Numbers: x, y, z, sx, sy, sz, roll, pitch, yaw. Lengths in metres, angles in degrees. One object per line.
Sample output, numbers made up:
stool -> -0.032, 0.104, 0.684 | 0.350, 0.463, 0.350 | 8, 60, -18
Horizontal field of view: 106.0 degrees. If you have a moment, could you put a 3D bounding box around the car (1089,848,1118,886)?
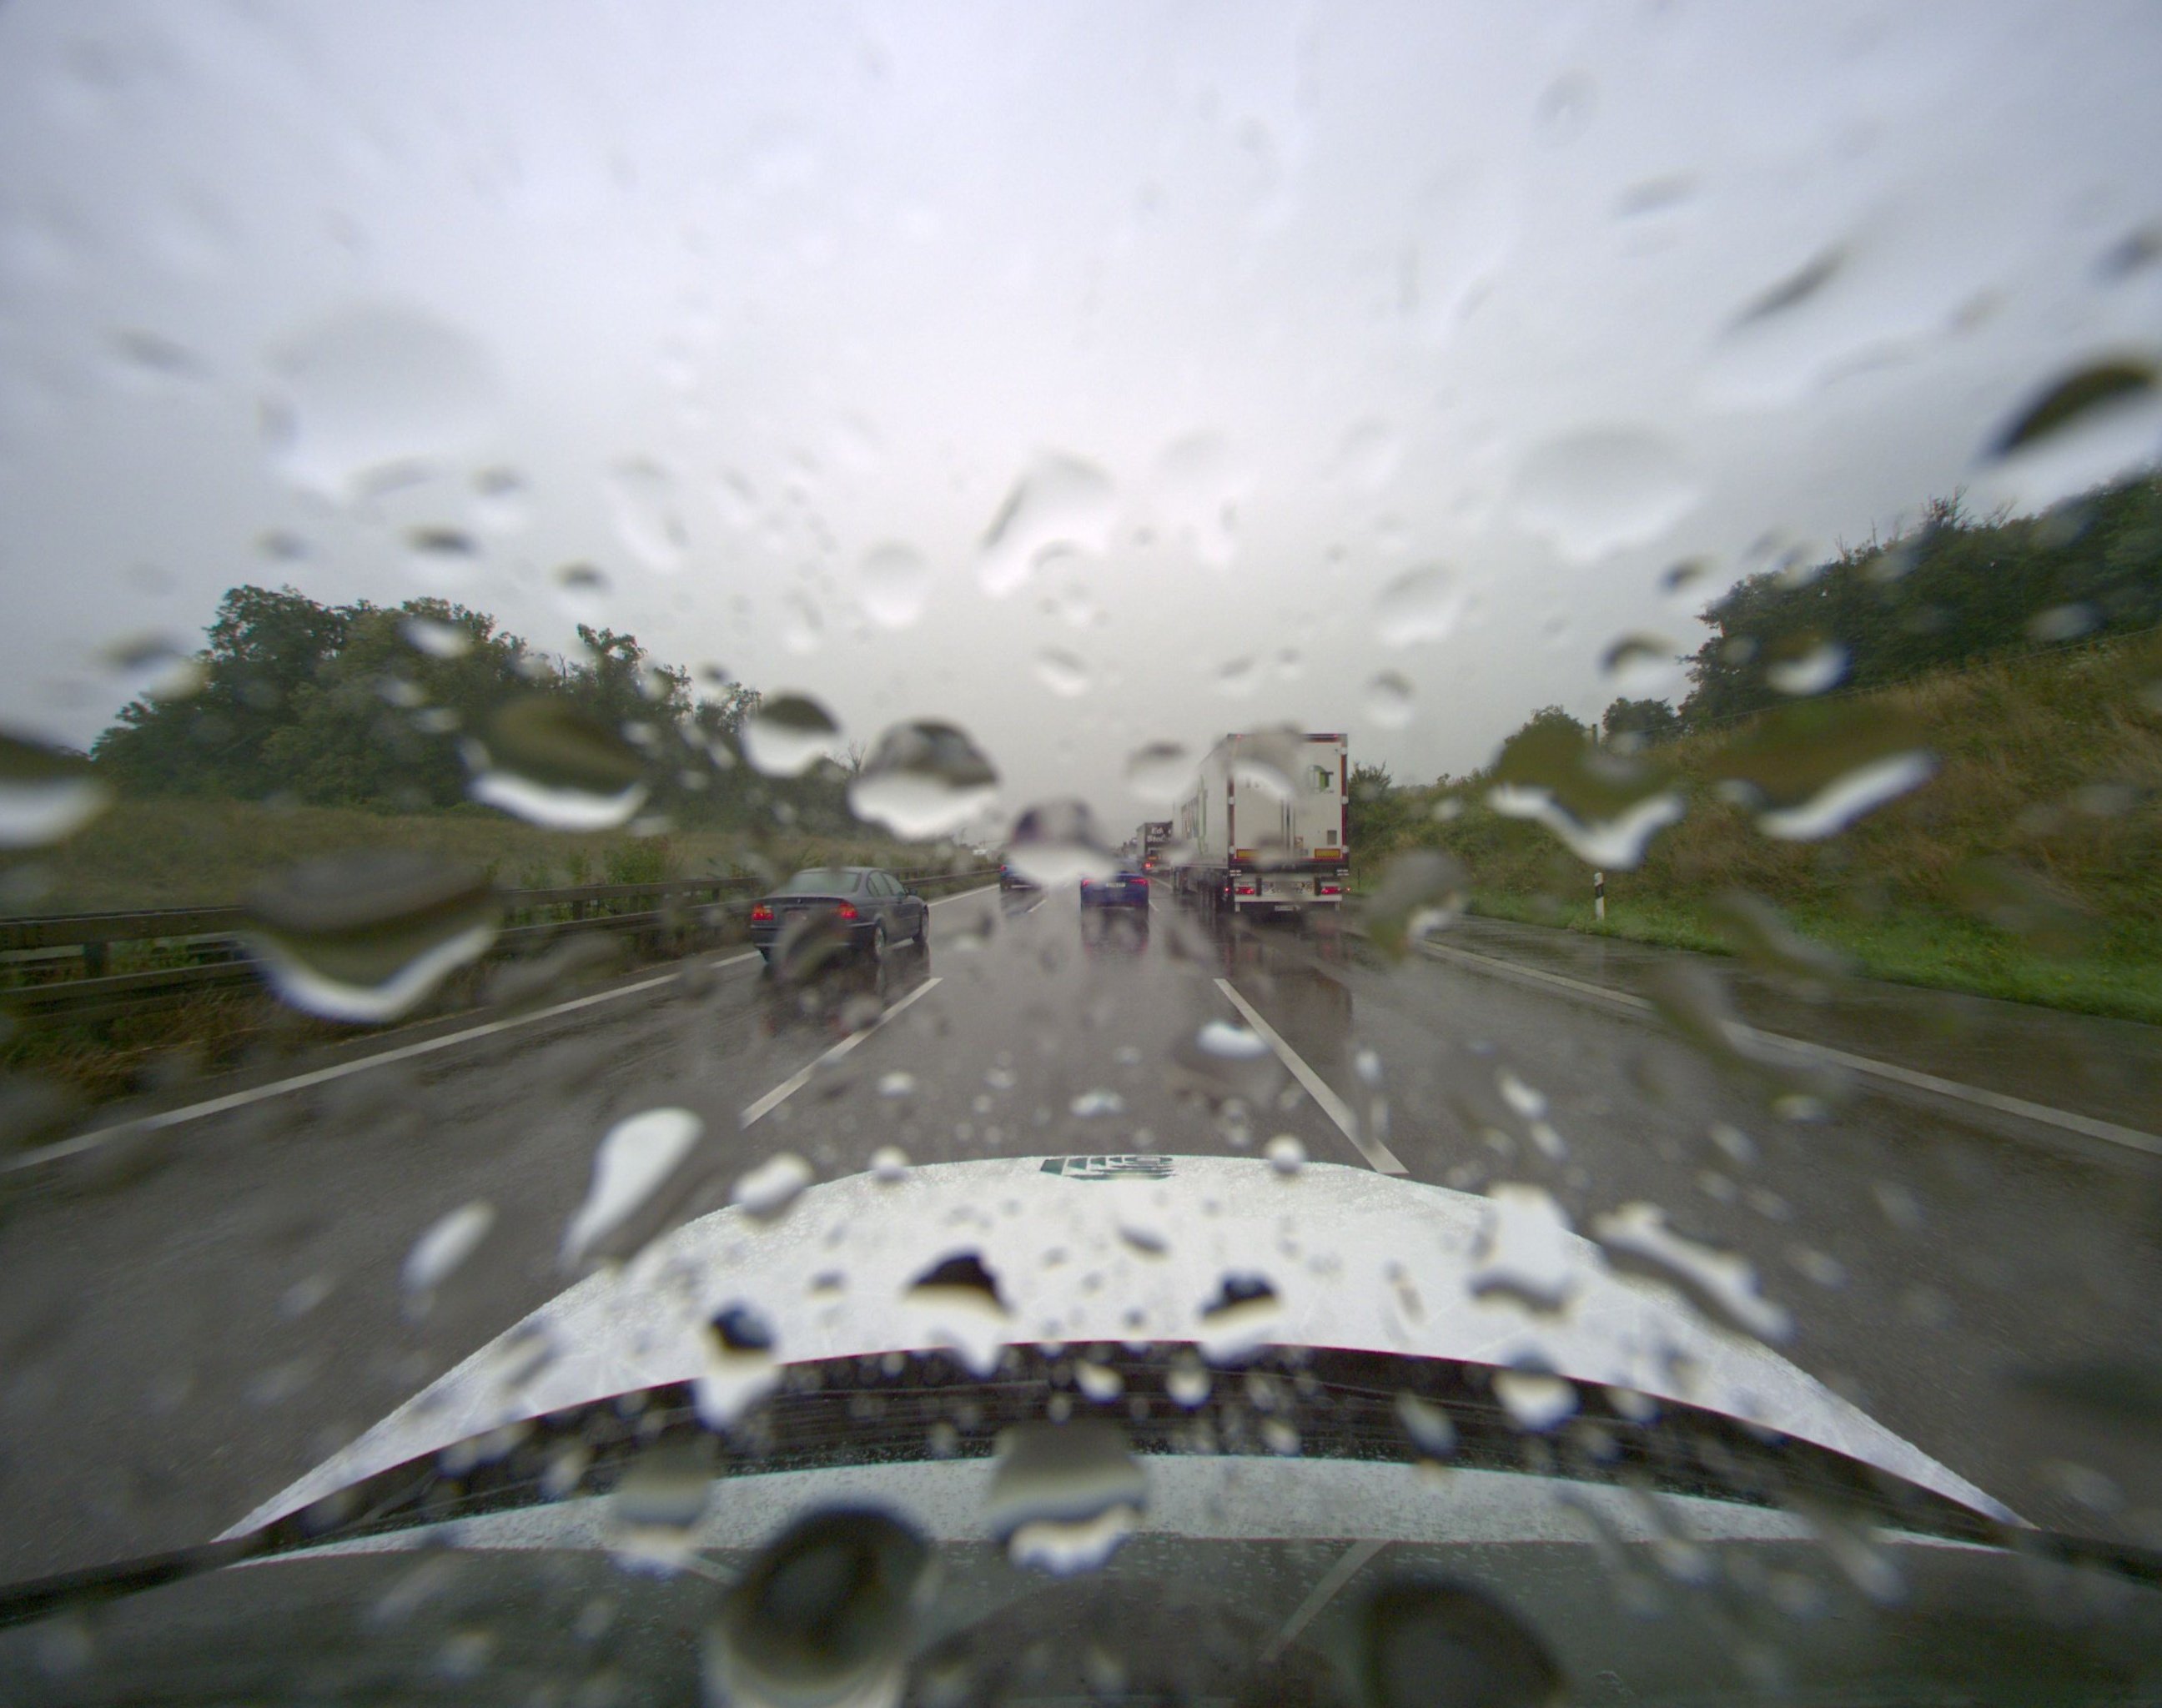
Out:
car -> 1.125, 0.613, 40.781 | 1.332, 1.780, 3.323 | -1, 0, 2

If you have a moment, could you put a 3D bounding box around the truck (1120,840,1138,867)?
truck -> 6.176, -0.082, 105.781 | 1.987, 3.421, 8.032 | -1, 0, 0

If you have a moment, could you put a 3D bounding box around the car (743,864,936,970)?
car -> -3.690, 0.889, 13.297 | 1.711, 1.400, 4.232 | -1, 0, 2

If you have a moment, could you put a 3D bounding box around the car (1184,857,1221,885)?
car -> 6.008, 0.803, 40.623 | 1.418, 1.288, 3.462 | -1, 0, 2

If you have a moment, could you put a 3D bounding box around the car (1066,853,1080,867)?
car -> -0.909, 0.638, 91.953 | 1.434, 1.533, 3.323 | -1, 0, 2

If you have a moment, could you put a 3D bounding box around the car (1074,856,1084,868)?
car -> -0.301, 1.218, 125.398 | 1.443, 1.784, 3.410 | -1, -1, 2

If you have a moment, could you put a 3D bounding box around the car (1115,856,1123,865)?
car -> 7.136, 1.195, 154.156 | 1.443, 1.784, 3.410 | -1, -1, 2

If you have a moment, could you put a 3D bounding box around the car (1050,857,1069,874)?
car -> -1.935, 1.046, 74.025 | 1.434, 1.420, 3.323 | -1, 0, 2

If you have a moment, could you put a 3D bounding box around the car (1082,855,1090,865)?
car -> 0.951, 1.177, 158.913 | 1.443, 1.784, 3.410 | -1, -1, 2

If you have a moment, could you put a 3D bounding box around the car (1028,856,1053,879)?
car -> -2.648, 0.865, 53.763 | 1.354, 1.431, 3.365 | -1, 0, 2

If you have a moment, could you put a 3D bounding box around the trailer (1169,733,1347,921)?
trailer -> 4.606, -0.586, 24.840 | 2.620, 4.013, 14.634 | -1, 0, 2

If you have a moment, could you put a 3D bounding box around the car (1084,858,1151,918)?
car -> 0.983, 0.832, 21.928 | 1.629, 1.445, 4.002 | -1, 0, 2

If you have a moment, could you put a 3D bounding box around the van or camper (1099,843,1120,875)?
van or camper -> 2.623, 0.410, 74.322 | 1.791, 2.806, 4.769 | -1, 0, 2

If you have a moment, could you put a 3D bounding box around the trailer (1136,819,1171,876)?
trailer -> 5.698, -0.481, 65.372 | 2.039, 4.176, 11.452 | -1, 0, 2

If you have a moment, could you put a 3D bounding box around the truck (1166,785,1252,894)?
truck -> 4.800, -0.510, 31.352 | 2.621, 3.827, 4.793 | -1, 0, 2

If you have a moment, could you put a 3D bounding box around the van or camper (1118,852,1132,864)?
van or camper -> 6.210, 0.601, 115.518 | 1.765, 1.625, 4.485 | -1, 0, 1

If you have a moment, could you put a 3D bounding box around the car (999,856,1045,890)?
car -> -2.801, 0.862, 39.238 | 1.715, 1.523, 4.003 | -1, 0, 3

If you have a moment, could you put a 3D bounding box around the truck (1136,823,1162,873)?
truck -> 5.863, -0.477, 70.641 | 2.039, 4.193, 4.001 | -1, 0, 2
